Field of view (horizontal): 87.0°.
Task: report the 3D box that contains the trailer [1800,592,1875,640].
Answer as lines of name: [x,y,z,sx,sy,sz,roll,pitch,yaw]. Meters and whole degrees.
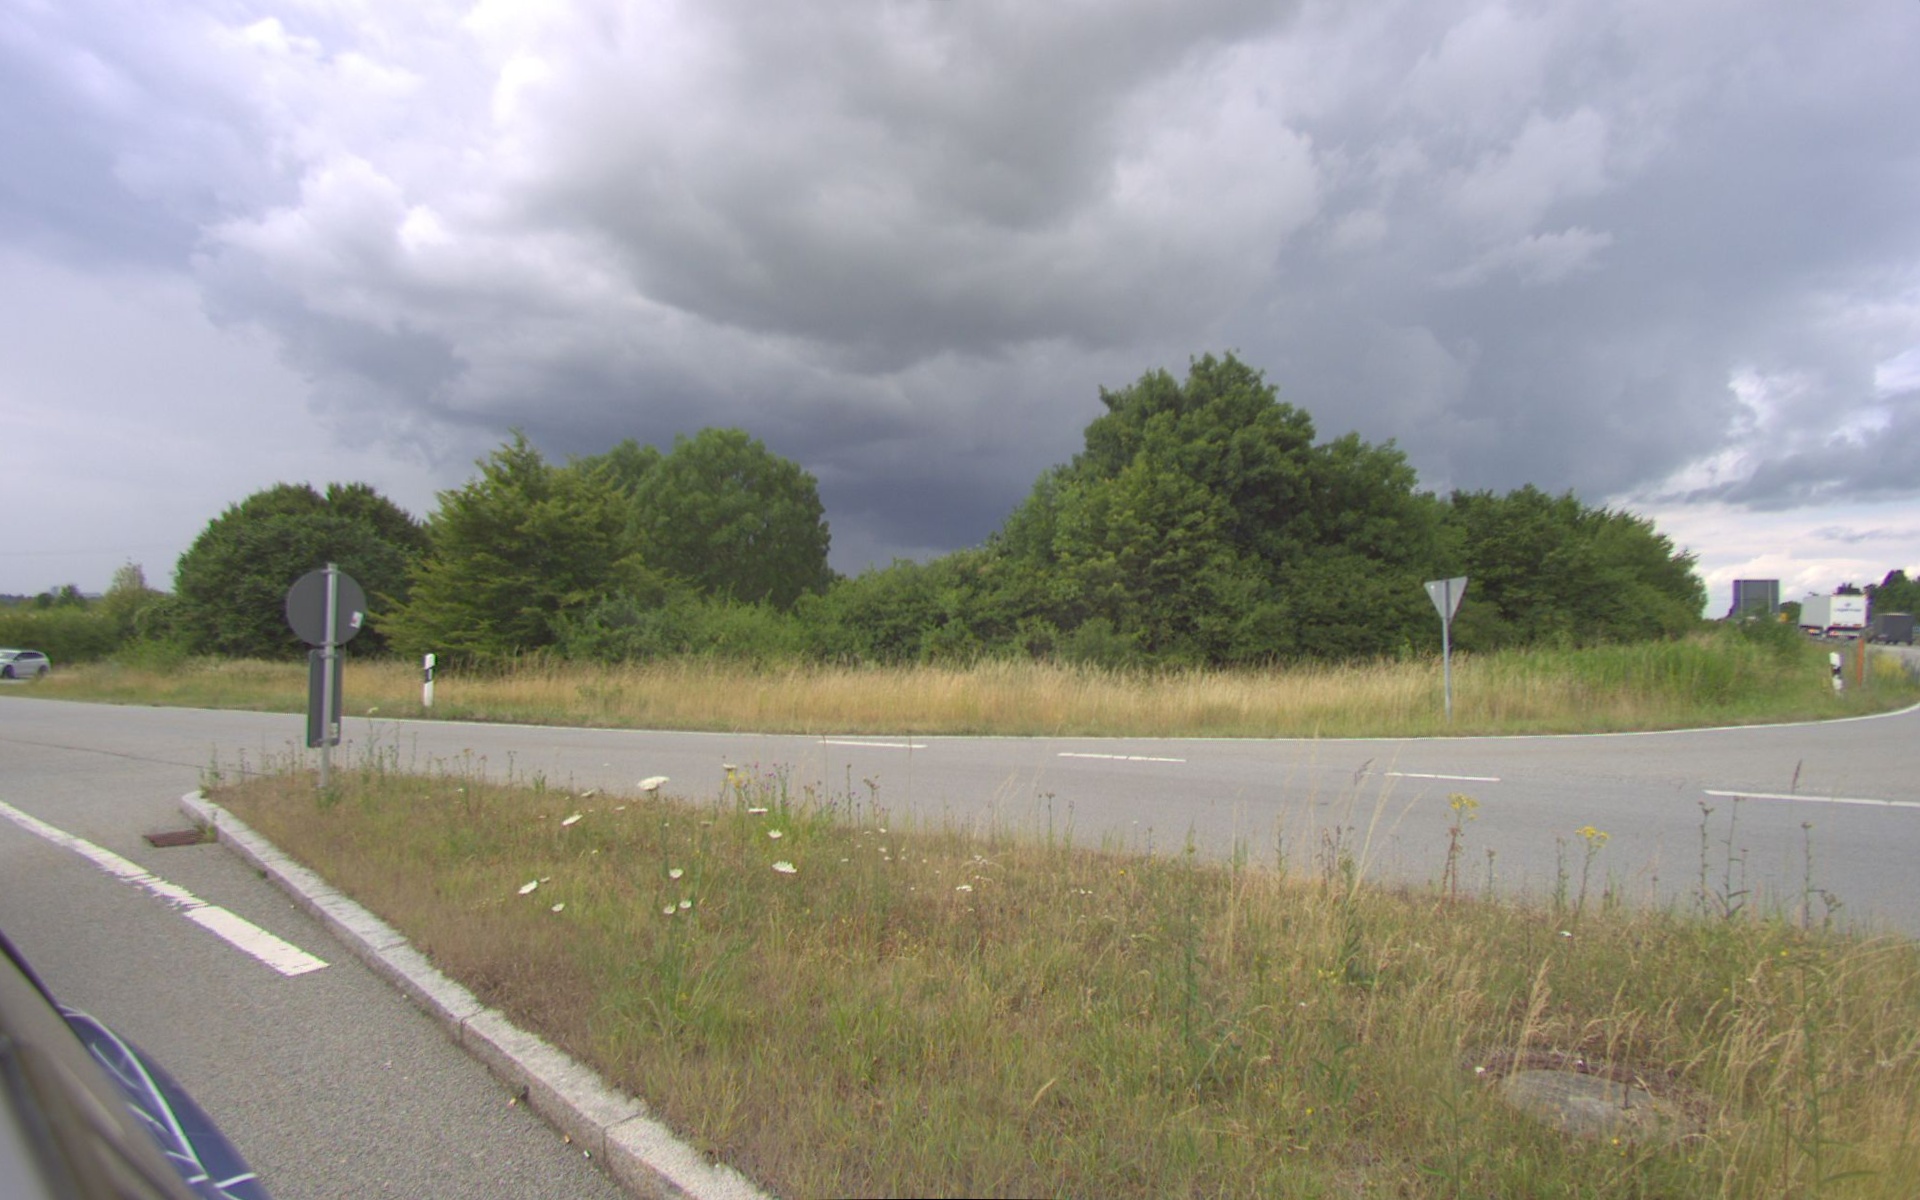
trailer: [81.254,1.544,93.962,3.119,4.044,13.734,1,-1,32]

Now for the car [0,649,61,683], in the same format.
car: [-53.709,3.709,57.045,1.968,1.732,5.218,3,-2,-9]

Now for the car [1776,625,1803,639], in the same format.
car: [98.059,3.795,119.667,1.995,1.614,4.174,-1,-3,34]

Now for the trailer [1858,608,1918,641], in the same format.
trailer: [68.741,1.804,75.068,2.408,2.310,4.349,1,-1,31]

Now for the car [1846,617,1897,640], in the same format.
car: [70.938,2.197,78.828,1.992,1.695,4.432,1,-1,30]

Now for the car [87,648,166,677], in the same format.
car: [-56.317,4.178,68.534,1.967,1.732,5.222,3,-3,-13]

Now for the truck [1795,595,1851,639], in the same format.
truck: [84.705,1.670,99.428,3.119,4.044,7.227,1,-1,32]
